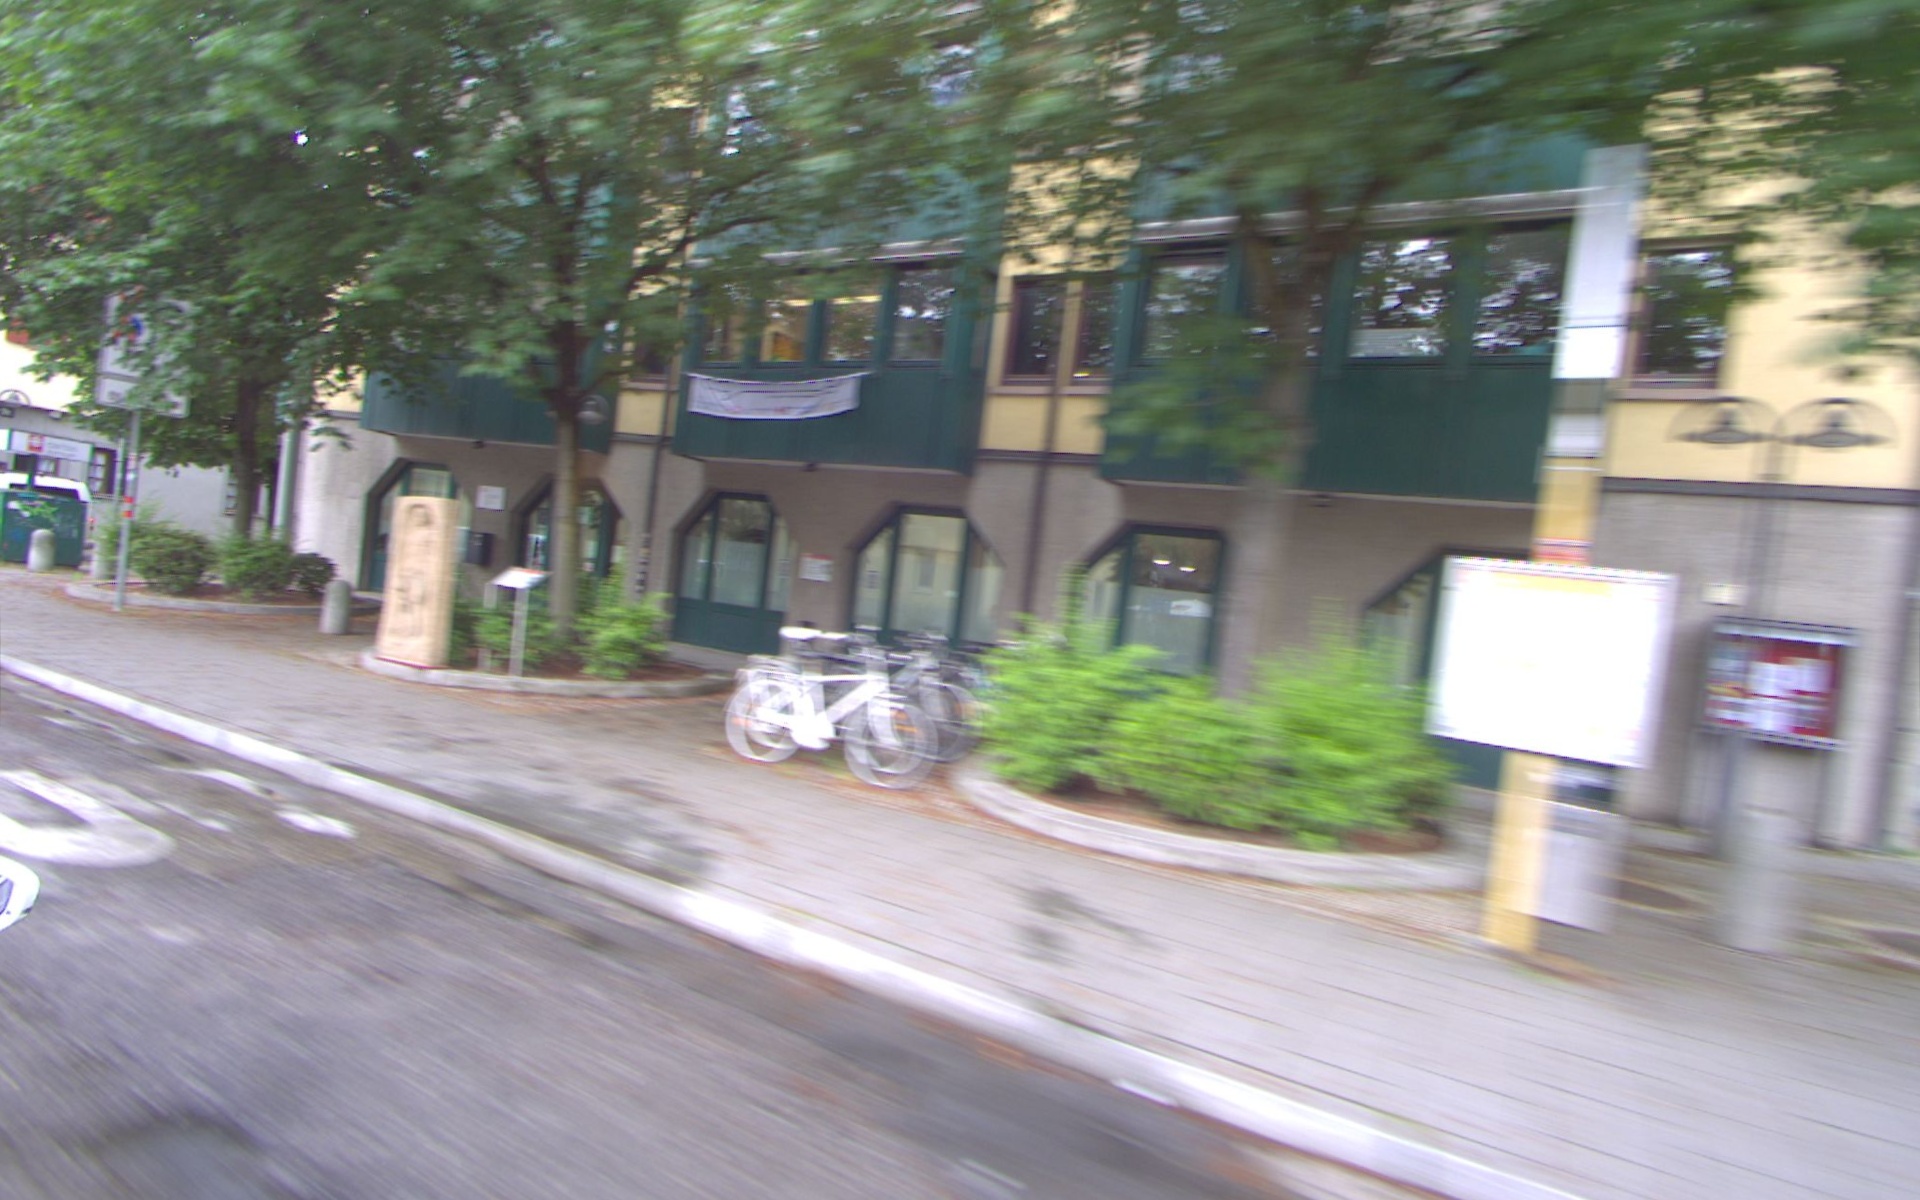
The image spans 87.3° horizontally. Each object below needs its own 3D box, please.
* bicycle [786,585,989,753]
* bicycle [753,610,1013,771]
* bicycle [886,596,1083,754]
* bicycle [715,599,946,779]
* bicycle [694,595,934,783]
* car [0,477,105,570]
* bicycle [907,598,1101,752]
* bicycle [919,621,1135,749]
[{"bbox_3d":[-0.714,0.608,9.411,1.926,1.316,0.333,6,0,31],"label":"bicycle"},{"bbox_3d":[-0.719,0.753,8.888,2.251,1.083,0.545,6,1,27],"label":"bicycle"},{"bbox_3d":[0.209,0.711,10.042,1.926,1.316,0.333,6,0,31],"label":"bicycle"},{"bbox_3d":[-1.077,0.668,8.041,1.926,1.155,0.333,6,0,31],"label":"bicycle"},{"bbox_3d":[-1.160,0.634,7.697,1.926,1.154,0.333,6,0,31],"label":"bicycle"},{"bbox_3d":[-21.629,-1.824,21.799,1.814,1.820,4.253,9,1,24],"label":"car"},{"bbox_3d":[0.419,0.731,10.311,1.926,1.316,0.333,6,0,31],"label":"bicycle"},{"bbox_3d":[0.703,0.895,11.058,2.251,1.083,0.545,6,1,27],"label":"bicycle"}]
